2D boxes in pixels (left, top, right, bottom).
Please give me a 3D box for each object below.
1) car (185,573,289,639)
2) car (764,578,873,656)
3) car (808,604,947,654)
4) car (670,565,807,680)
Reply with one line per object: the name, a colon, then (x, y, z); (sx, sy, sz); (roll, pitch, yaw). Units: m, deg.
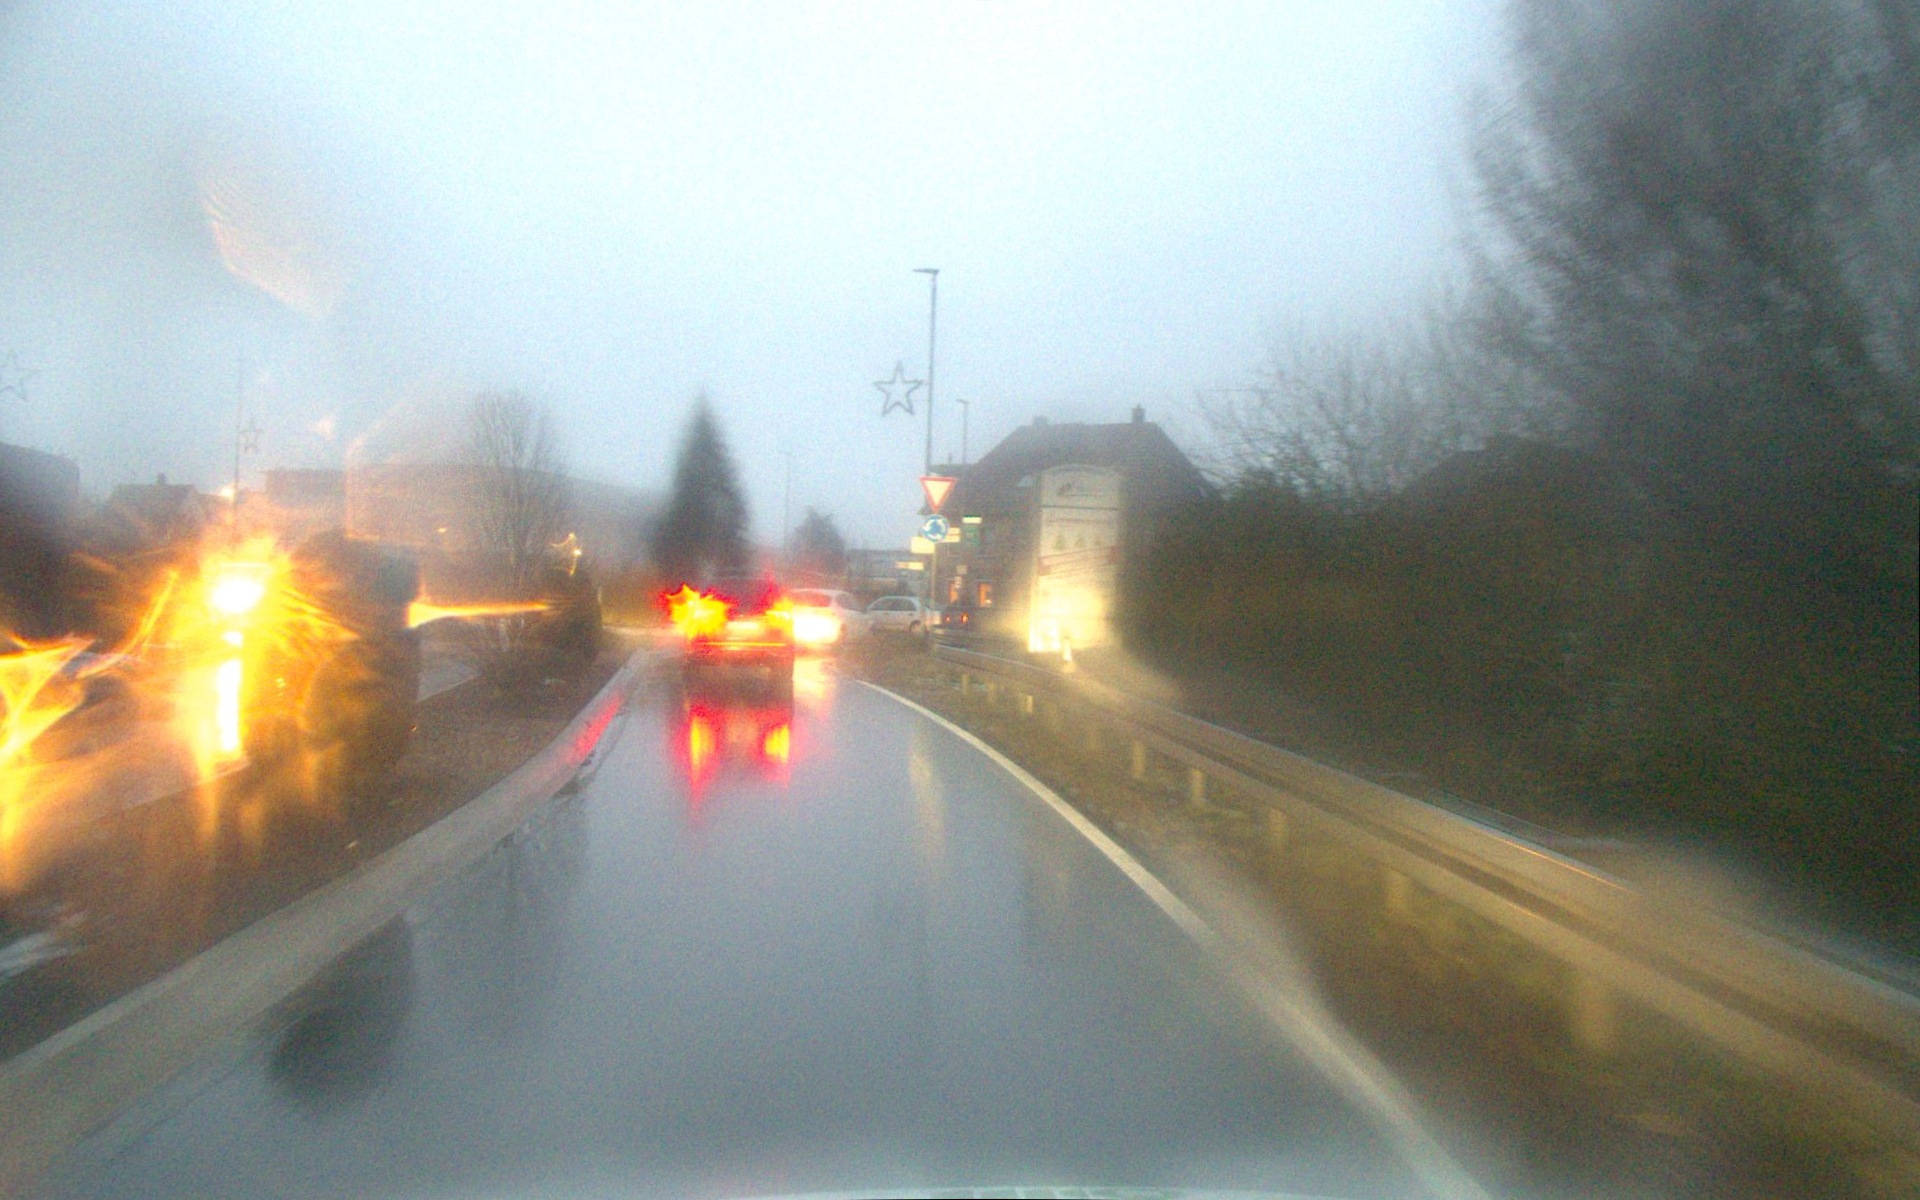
car: (-17.400, 0.116, 39.727); (1.594, 1.495, 3.640); (1, 0, -35)
car: (-3.376, 0.365, 40.421); (2.119, 1.719, 4.572); (2, 1, 1)
car: (-2.881, 1.007, 57.480); (4.467, 1.643, 1.887); (0, -2, 26)
car: (-3.843, 0.357, 28.157); (1.911, 1.748, 3.987); (2, 0, -13)
